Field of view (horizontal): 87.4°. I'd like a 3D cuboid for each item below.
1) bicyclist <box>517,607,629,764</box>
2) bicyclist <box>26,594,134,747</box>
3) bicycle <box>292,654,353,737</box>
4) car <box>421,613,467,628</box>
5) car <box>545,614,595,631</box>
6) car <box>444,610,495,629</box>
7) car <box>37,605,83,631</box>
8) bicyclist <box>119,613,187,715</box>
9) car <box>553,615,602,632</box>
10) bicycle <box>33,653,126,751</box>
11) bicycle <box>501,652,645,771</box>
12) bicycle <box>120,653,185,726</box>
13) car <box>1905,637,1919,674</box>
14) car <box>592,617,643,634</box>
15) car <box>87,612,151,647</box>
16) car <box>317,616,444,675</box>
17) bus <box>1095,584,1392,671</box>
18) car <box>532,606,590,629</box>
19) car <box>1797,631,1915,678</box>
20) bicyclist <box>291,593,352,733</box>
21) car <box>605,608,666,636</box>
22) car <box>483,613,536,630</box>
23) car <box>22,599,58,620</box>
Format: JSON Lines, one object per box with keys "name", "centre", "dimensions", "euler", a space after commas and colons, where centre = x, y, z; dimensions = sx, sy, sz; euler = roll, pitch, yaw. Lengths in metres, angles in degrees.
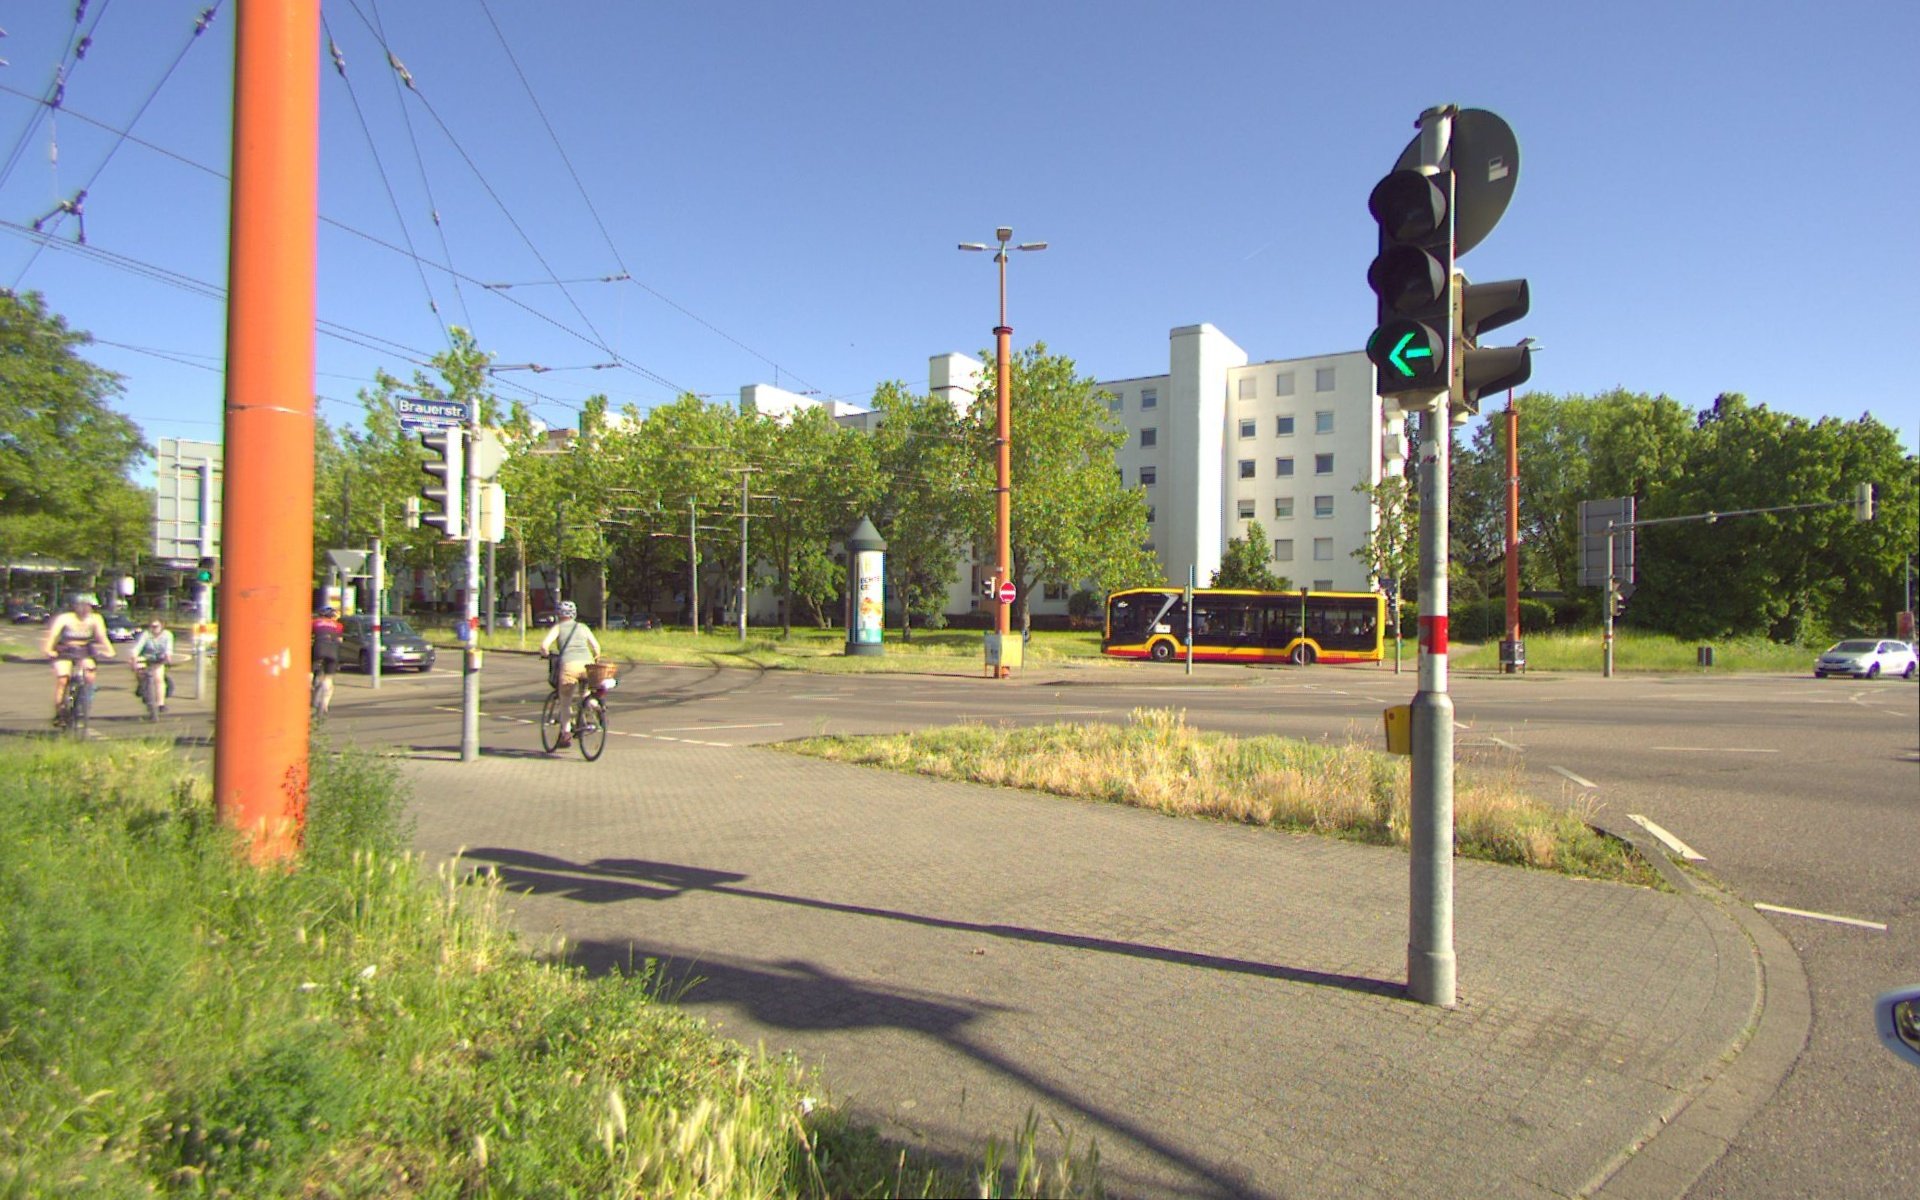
{"name": "bicyclist", "centre": [-4.286, 0.910, 11.142], "dimensions": [0.816, 1.643, 0.887], "euler": [-1, -2, 43]}
{"name": "bicyclist", "centre": [-11.531, 0.892, 13.164], "dimensions": [0.910, 1.892, 0.889], "euler": [2, 0, 39]}
{"name": "bicycle", "centre": [-9.260, 1.344, 14.592], "dimensions": [0.684, 1.085, 1.899], "euler": [2, -2, -33]}
{"name": "car", "centre": [-45.034, 1.780, 87.667], "dimensions": [3.366, 1.204, 1.441], "euler": [2, 0, -19]}
{"name": "car", "centre": [-29.946, 1.730, 77.130], "dimensions": [3.342, 1.162, 1.306], "euler": [2, 0, -9]}
{"name": "car", "centre": [-41.793, 1.621, 85.594], "dimensions": [3.588, 1.480, 1.610], "euler": [2, 0, -15]}
{"name": "car", "centre": [-57.146, 1.135, 63.768], "dimensions": [3.944, 1.516, 1.907], "euler": [2, 0, 44]}
{"name": "bicyclist", "centre": [-12.835, 0.996, 15.975], "dimensions": [0.911, 1.545, 0.716], "euler": [2, 0, 45]}
{"name": "car", "centre": [-28.515, 1.764, 74.933], "dimensions": [3.216, 1.172, 1.359], "euler": [2, 0, -8]}
{"name": "bicycle", "centre": [-11.515, 1.290, 13.116], "dimensions": [1.886, 1.086, 0.577], "euler": [2, 0, 39]}
{"name": "bicycle", "centre": [-4.337, 1.185, 11.185], "dimensions": [1.889, 1.146, 0.736], "euler": [0, -1, 43]}
{"name": "bicycle", "centre": [-12.811, 1.385, 15.917], "dimensions": [1.890, 1.085, 0.576], "euler": [-3, -3, 44]}
{"name": "car", "centre": [42.147, 2.346, 42.466], "dimensions": [3.946, 1.533, 1.879], "euler": [2, -2, -26]}
{"name": "car", "centre": [-25.092, 1.874, 73.677], "dimensions": [3.277, 1.149, 1.322], "euler": [2, 0, -7]}
{"name": "car", "centre": [-40.537, 1.389, 48.382], "dimensions": [3.944, 1.516, 1.907], "euler": [2, 0, 44]}
{"name": "car", "centre": [-17.241, 1.308, 29.834], "dimensions": [3.981, 1.516, 1.911], "euler": [2, 0, 38]}
{"name": "bus", "centre": [12.253, 1.162, 44.529], "dimensions": [12.281, 3.305, 2.656], "euler": [2, 0, 9]}
{"name": "car", "centre": [-31.467, 1.378, 79.231], "dimensions": [3.866, 1.614, 1.658], "euler": [2, 0, -4]}
{"name": "car", "centre": [33.950, 2.063, 38.072], "dimensions": [4.162, 1.673, 1.872], "euler": [2, -2, -25]}
{"name": "bicyclist", "centre": [-9.276, 0.881, 14.601], "dimensions": [0.679, 1.938, 0.982], "euler": [2, 0, -33]}
{"name": "car", "centre": [-23.060, 1.583, 71.521], "dimensions": [3.870, 1.841, 1.653], "euler": [2, 0, -10]}
{"name": "car", "centre": [-37.494, 1.783, 83.594], "dimensions": [3.662, 1.349, 1.497], "euler": [2, 0, -4]}
{"name": "car", "centre": [-70.914, 0.729, 77.410], "dimensions": [3.944, 1.516, 1.835], "euler": [2, 0, 44]}
